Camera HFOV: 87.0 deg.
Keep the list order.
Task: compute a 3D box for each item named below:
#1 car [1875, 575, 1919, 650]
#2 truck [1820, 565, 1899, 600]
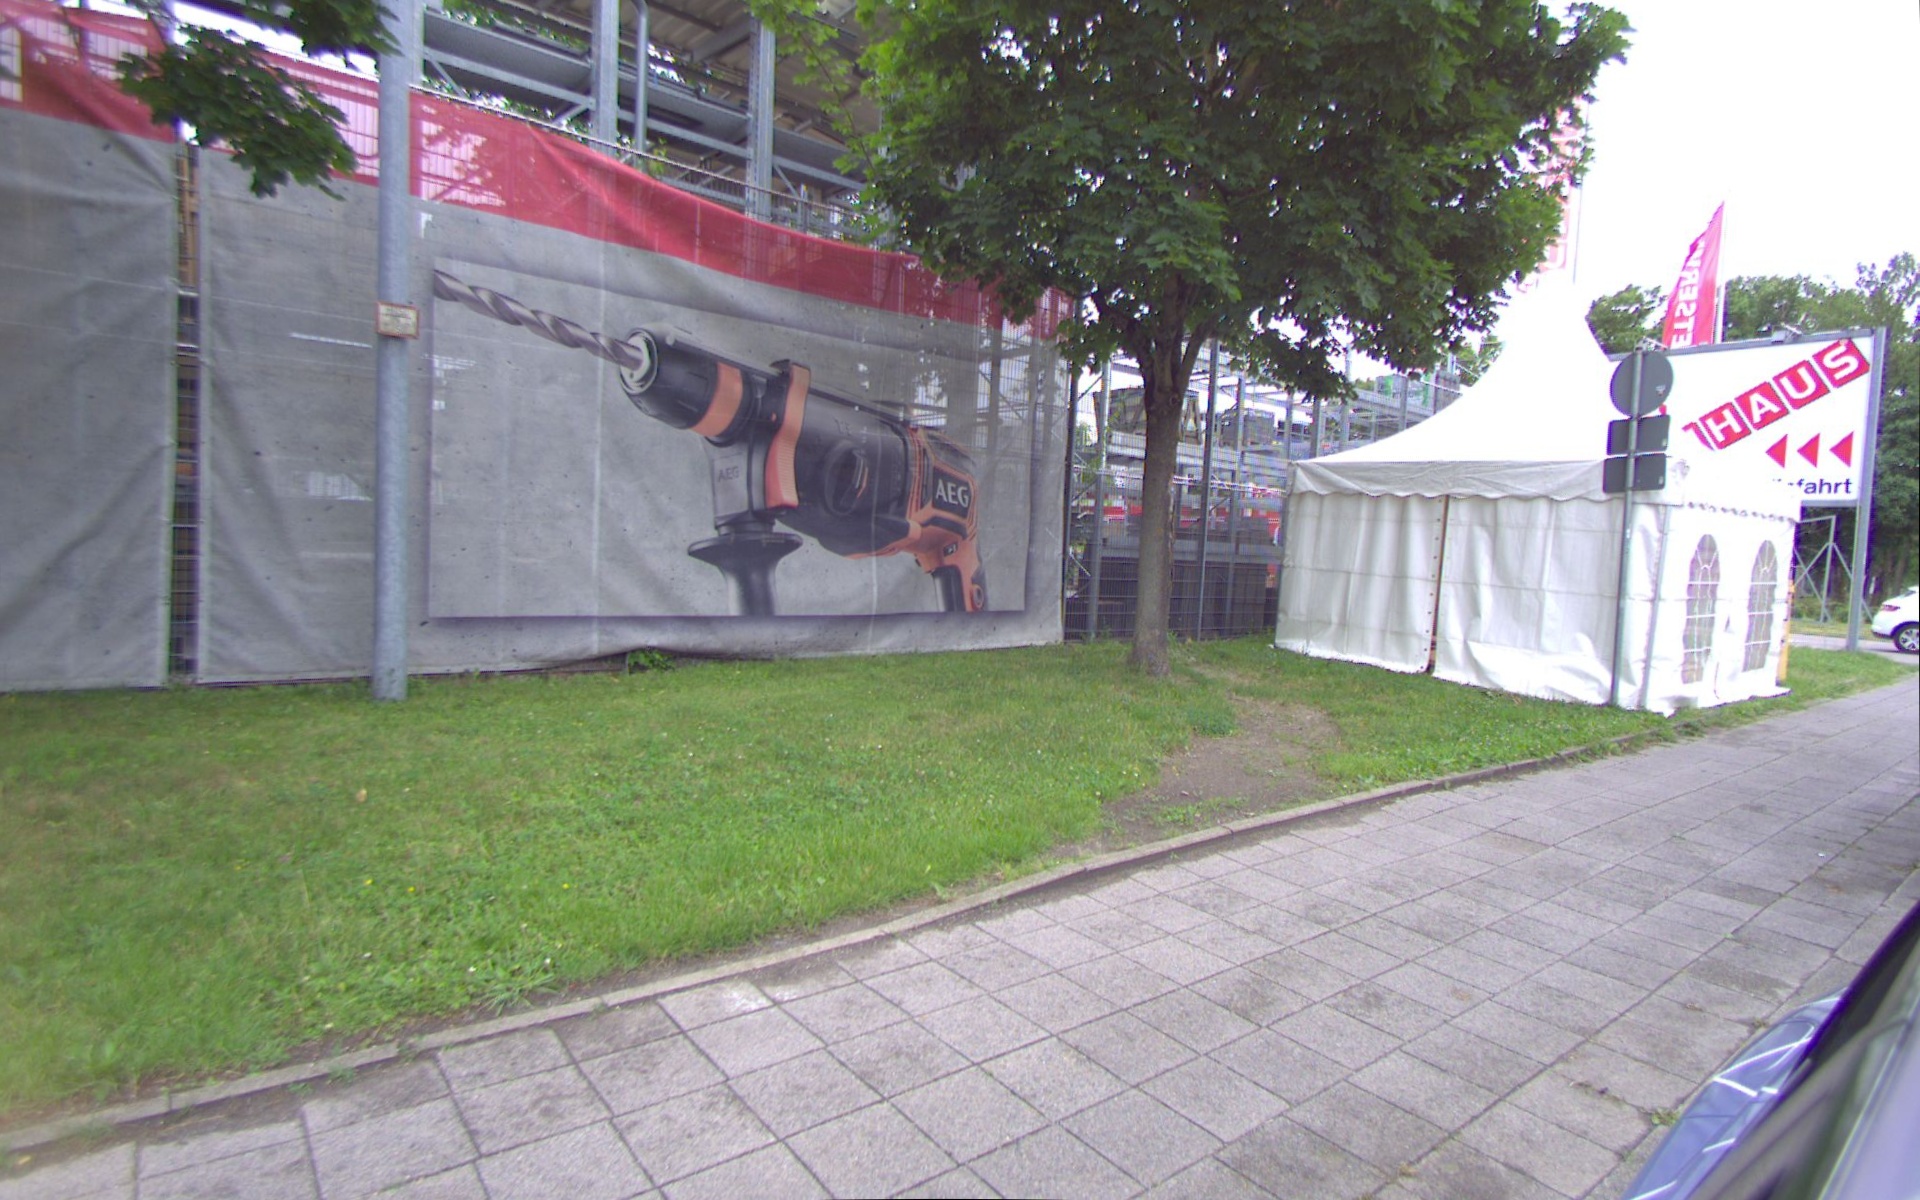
[{"bbox_3d":[21.103,0.346,19.871,1.908,1.445,4.487,-2,5,-43],"label":"car"},{"bbox_3d":[68.303,-1.358,76.904,3.925,2.425,2.001,3,3,1],"label":"truck"}]
